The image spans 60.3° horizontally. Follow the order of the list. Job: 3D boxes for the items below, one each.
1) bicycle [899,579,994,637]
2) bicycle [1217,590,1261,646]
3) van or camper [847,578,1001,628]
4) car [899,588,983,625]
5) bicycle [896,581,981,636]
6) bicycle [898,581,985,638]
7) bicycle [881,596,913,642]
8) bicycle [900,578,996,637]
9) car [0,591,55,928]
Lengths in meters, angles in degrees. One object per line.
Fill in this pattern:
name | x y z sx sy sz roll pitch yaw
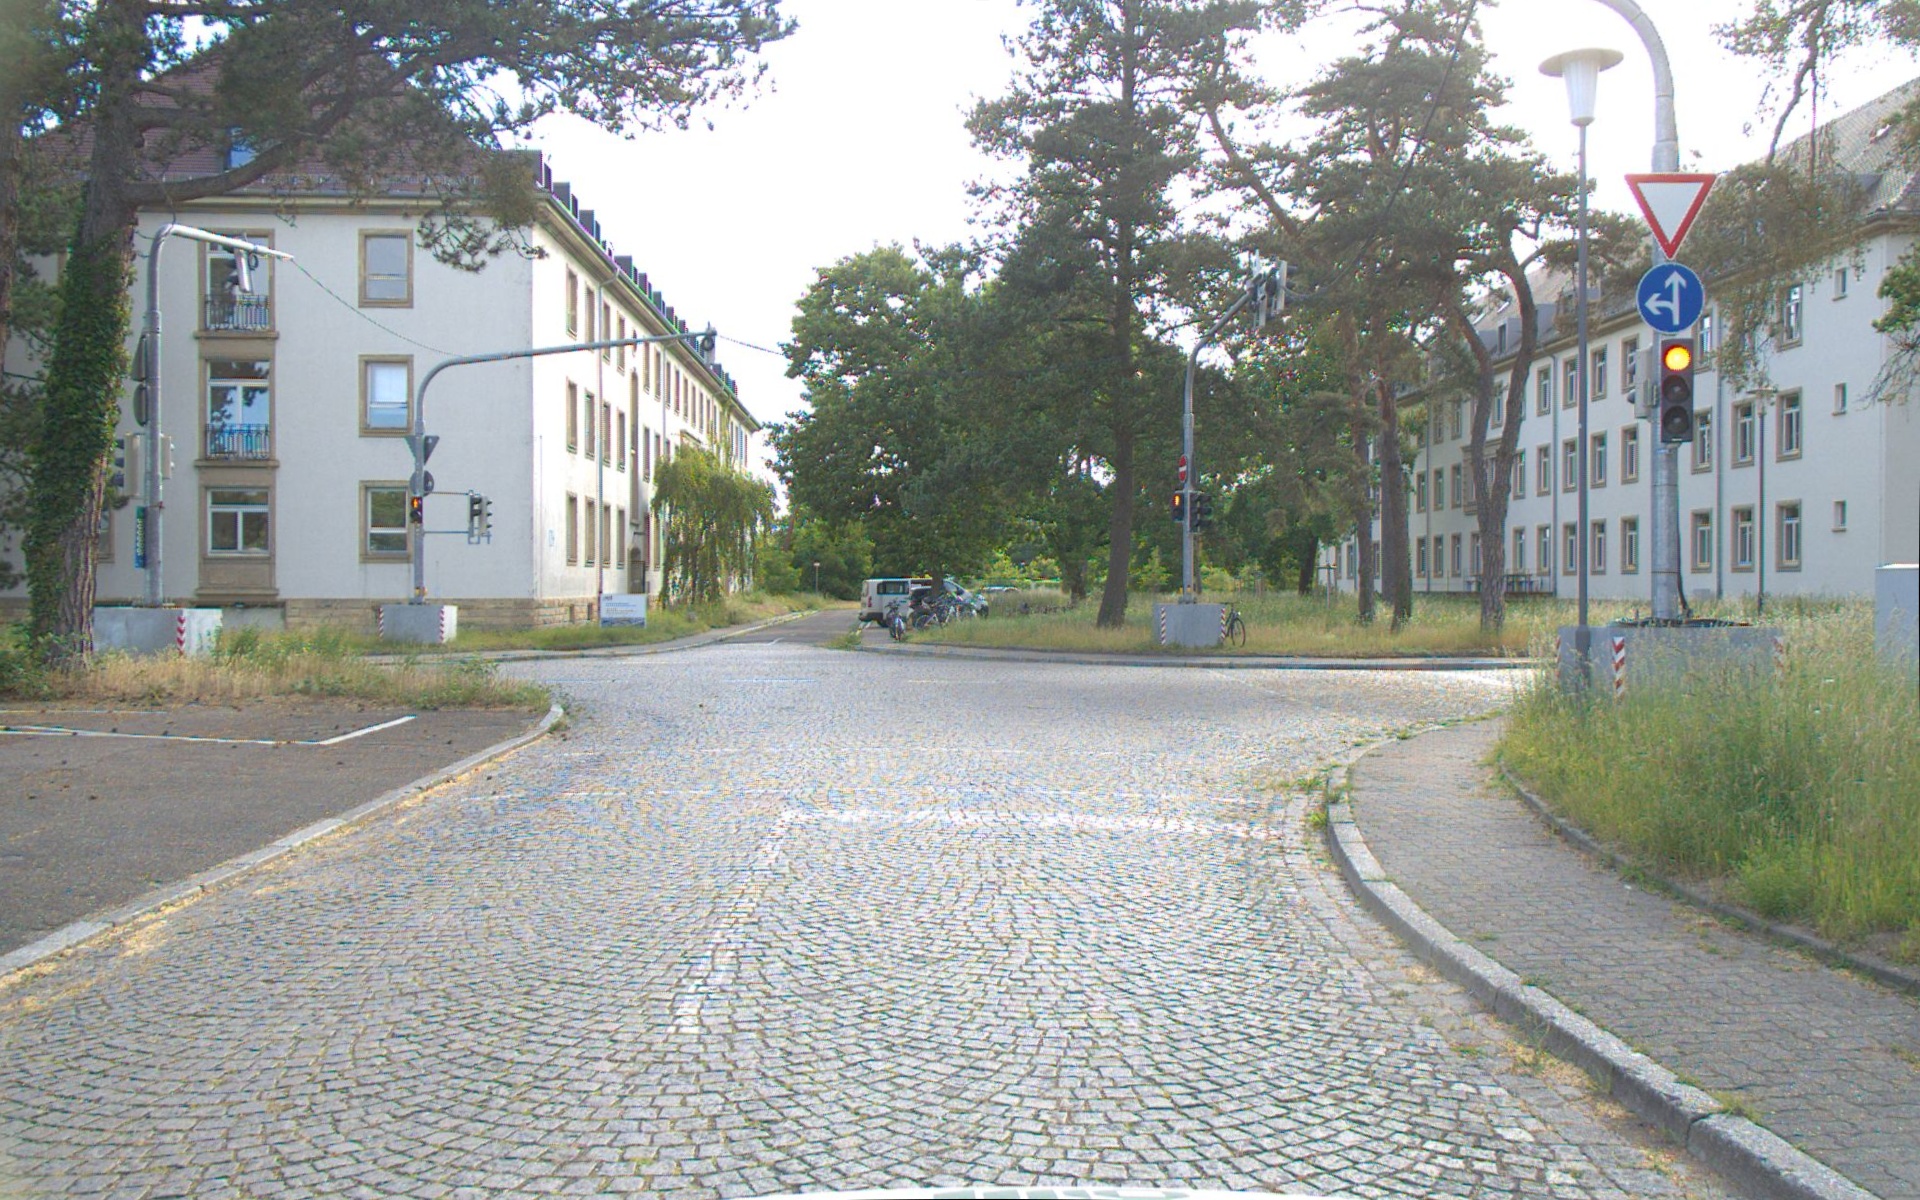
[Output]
bicycle | -0.418 0.223 49.936 2.724 1.723 1.118 0 0 -10
bicycle | 6.256 0.387 37.189 0.709 1.189 2.738 2 0 4
van or camper | -1.477 0.105 66.679 5.933 1.983 1.992 0 0 -16
car | -0.742 0.249 63.128 3.078 1.378 1.617 0 0 -8
bicycle | -0.717 0.276 54.831 2.719 1.723 1.120 2 0 -1
bicycle | -0.591 0.299 53.497 2.718 1.723 1.120 2 0 2
bicycle | -1.679 0.490 44.414 0.711 1.127 2.462 -4 0 -1
bicycle | -0.353 0.204 48.744 2.723 1.723 1.118 0 0 -8
car | -6.318 0.614 6.520 4.391 1.467 1.828 2 0 -6
